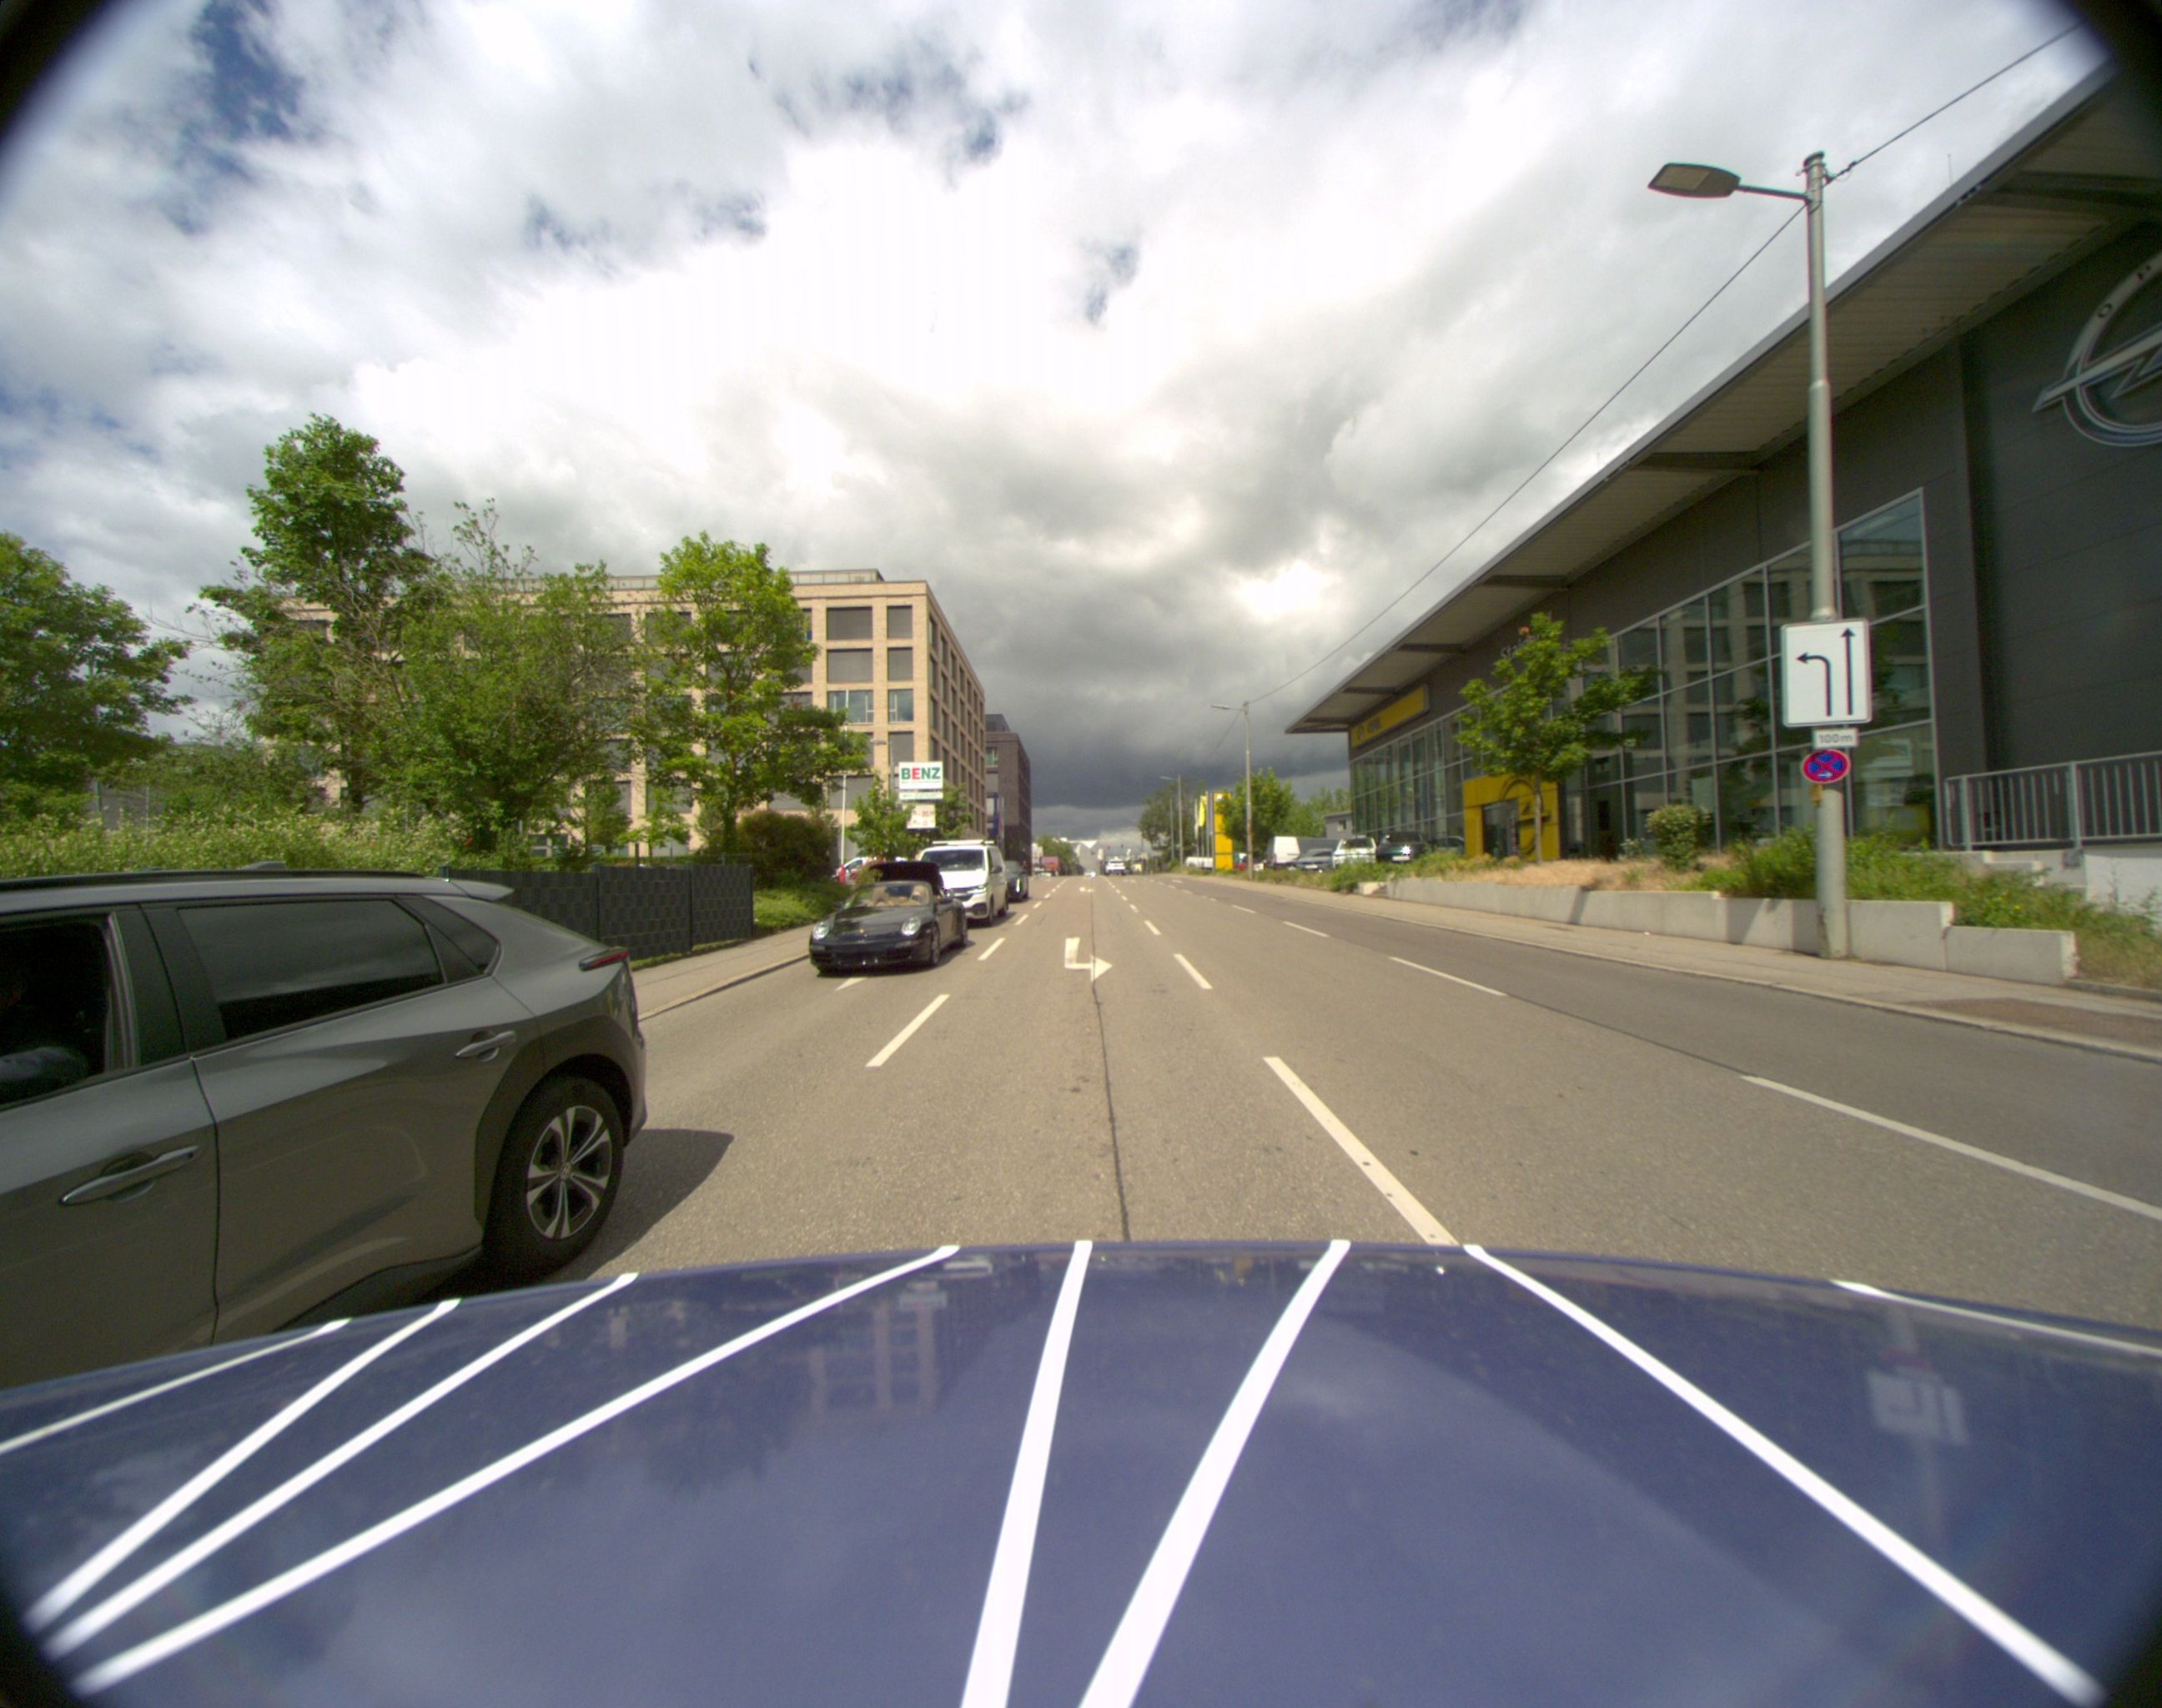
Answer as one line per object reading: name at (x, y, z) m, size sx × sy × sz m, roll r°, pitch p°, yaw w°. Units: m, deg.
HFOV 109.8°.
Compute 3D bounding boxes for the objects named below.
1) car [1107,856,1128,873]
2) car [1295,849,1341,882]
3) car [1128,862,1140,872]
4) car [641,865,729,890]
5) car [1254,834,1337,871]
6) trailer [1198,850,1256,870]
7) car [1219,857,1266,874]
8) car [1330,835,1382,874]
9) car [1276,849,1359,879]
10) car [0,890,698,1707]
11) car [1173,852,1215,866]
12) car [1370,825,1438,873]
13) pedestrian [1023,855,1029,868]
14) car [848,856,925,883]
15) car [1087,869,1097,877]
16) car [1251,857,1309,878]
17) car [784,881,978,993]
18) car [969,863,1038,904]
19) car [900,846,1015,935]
car at (3.613, 1.025, 76.031) m, size 1.924 × 1.604 × 4.416 m, roll 0°, pitch 0°, yaw 1°
car at (12.221, 0.544, 39.007) m, size 1.794 × 1.604 × 4.116 m, roll -1°, pitch 0°, yaw 24°
car at (8.566, 2.078, 123.096) m, size 1.762 × 1.513 × 3.960 m, roll -1°, pitch 0°, yaw 7°
car at (-23.375, 1.378, 44.936) m, size 4.219 × 1.410 × 1.735 m, roll -1°, pitch 0°, yaw -1°
car at (13.462, -0.109, 47.866) m, size 4.532 × 2.182 × 2.179 m, roll -1°, pitch 1°, yaw -2°
trailer at (13.152, 0.521, 68.690) m, size 4.835 × 1.742 × 2.095 m, roll -1°, pitch 0°, yaw -3°
car at (13.711, 0.977, 64.804) m, size 3.669 × 1.401 × 1.815 m, roll -1°, pitch 0°, yaw 2°
car at (12.247, 0.008, 33.668) m, size 1.793 × 1.604 × 4.115 m, roll -1°, pitch 1°, yaw 25°
car at (13.339, 0.569, 43.021) m, size 4.108 × 1.604 × 1.797 m, roll -1°, pitch 0°, yaw -8°
car at (-2.939, 1.016, 1.447) m, size 1.924 × 1.604 × 4.683 m, roll -3°, pitch 0°, yaw 1°
car at (12.529, 0.569, 84.395) m, size 4.252 × 1.473 × 2.095 m, roll -1°, pitch 0°, yaw -2°
car at (12.282, -0.165, 28.737) m, size 1.817 × 1.603 × 4.117 m, roll -2°, pitch -1°, yaw 30°
pedestrian at (-6.177, 0.873, 85.751) m, size 0.578 × 1.497 × 0.542 m, roll -1°, pitch 1°, yaw 1°
car at (-11.582, 0.925, 45.476) m, size 4.220 × 1.567 × 1.735 m, roll -1°, pitch 0°, yaw -4°
car at (2.028, 3.646, 144.891) m, size 1.866 × 1.398 × 4.000 m, roll -1°, pitch 0°, yaw 1°
car at (14.966, 1.018, 57.294) m, size 3.946 × 1.518 × 1.561 m, roll -1°, pitch 0°, yaw -2°
car at (-2.957, 1.180, 12.341) m, size 1.777 × 1.267 × 4.569 m, roll -3°, pitch 0°, yaw 2°
car at (-2.774, 1.044, 28.206) m, size 1.777 × 1.267 × 4.569 m, roll -1°, pitch 0°, yaw 4°
car at (-2.879, 0.794, 18.796) m, size 1.964 × 1.840 × 4.645 m, roll -3°, pitch 0°, yaw 1°
